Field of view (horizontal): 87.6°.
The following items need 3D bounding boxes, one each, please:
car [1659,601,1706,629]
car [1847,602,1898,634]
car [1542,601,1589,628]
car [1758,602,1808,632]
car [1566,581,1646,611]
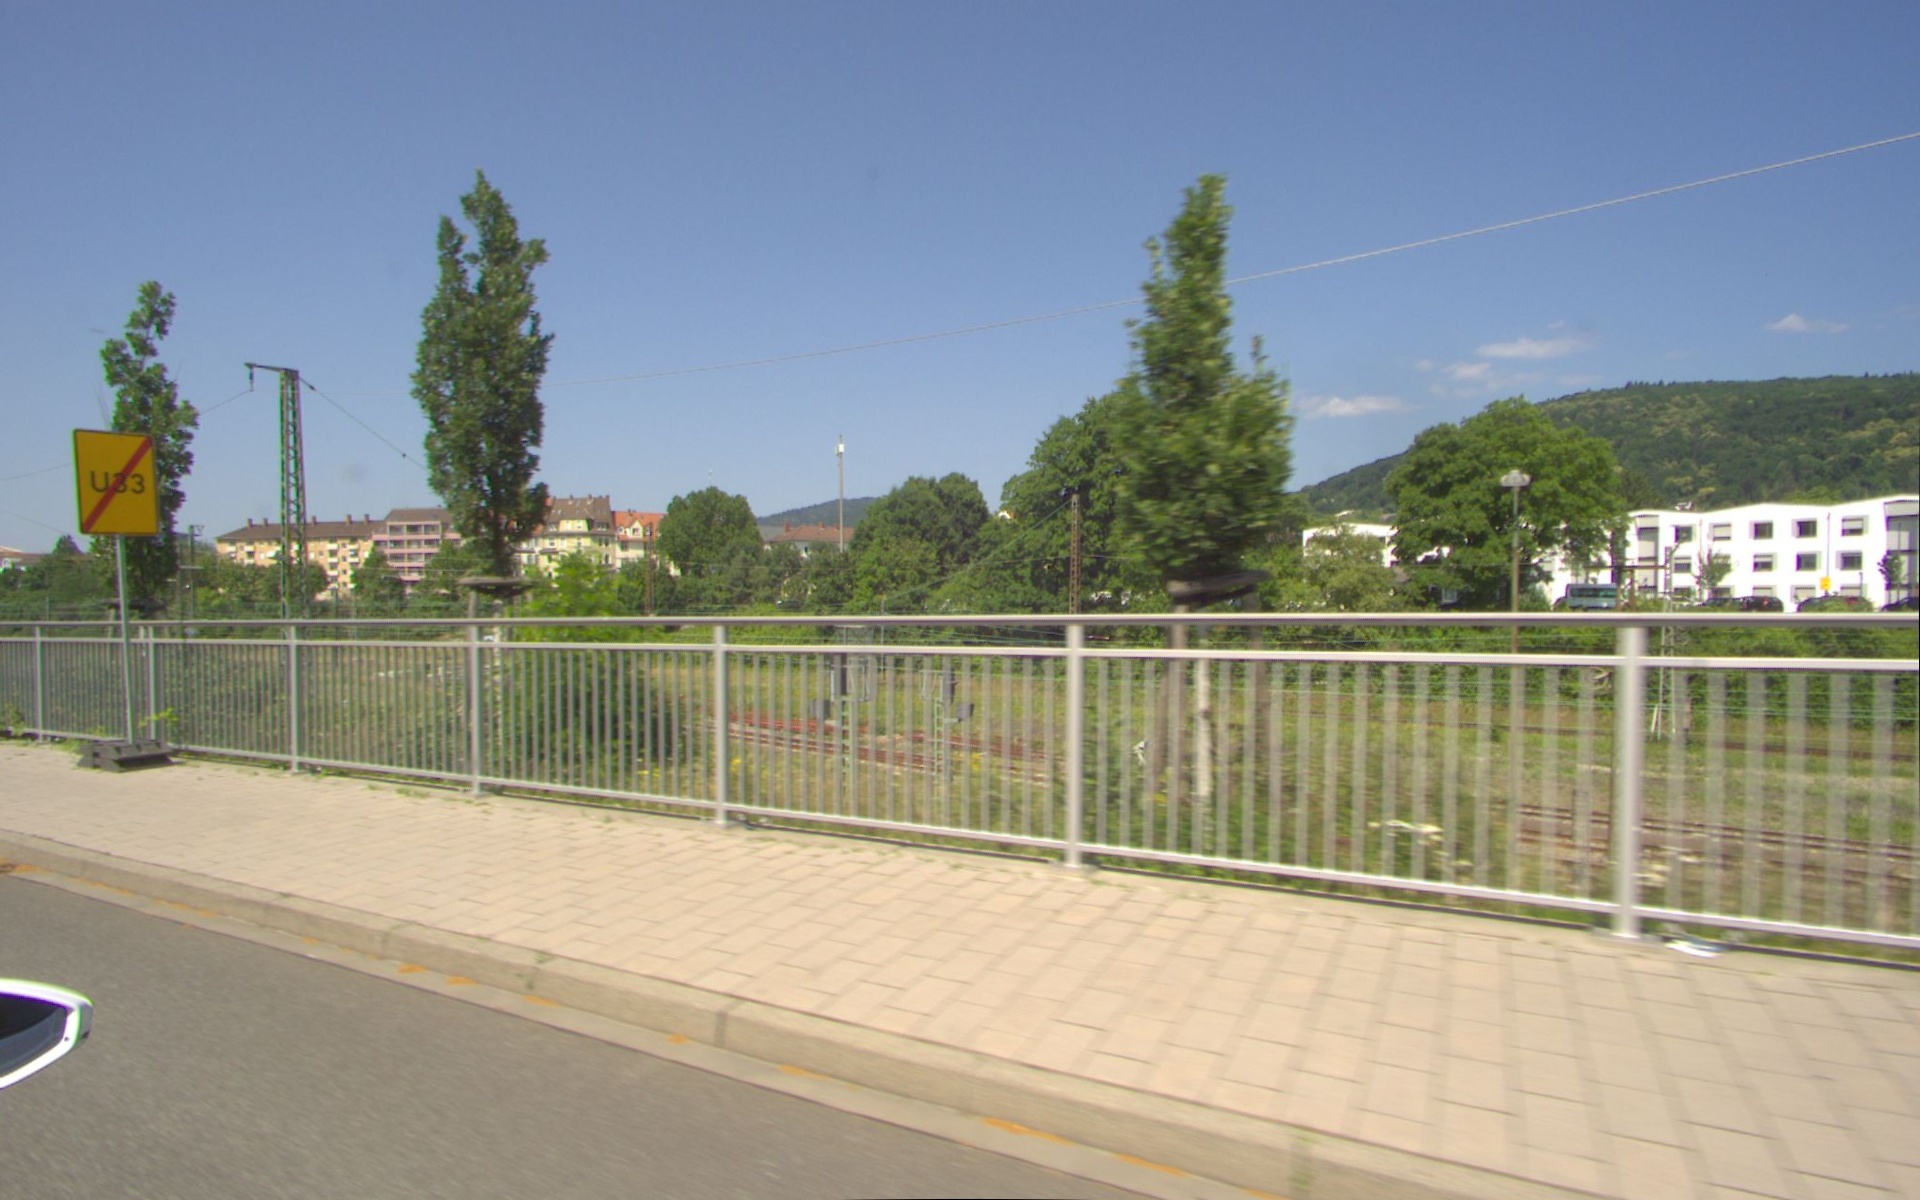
[{"bbox_3d":[55.423,1.155,76.799,4.420,2.041,1.983,-1,1,-40],"label":"car"},{"bbox_3d":[61.185,1.179,67.113,4.420,2.041,1.983,-1,1,-40],"label":"car"},{"bbox_3d":[49.544,1.160,81.909,4.420,2.041,1.983,-1,1,-40],"label":"car"},{"bbox_3d":[58.341,1.173,70.967,4.420,2.041,1.983,-1,1,-40],"label":"car"},{"bbox_3d":[48.106,-0.296,74.691,4.920,2.141,1.988,0,1,33],"label":"car"}]
